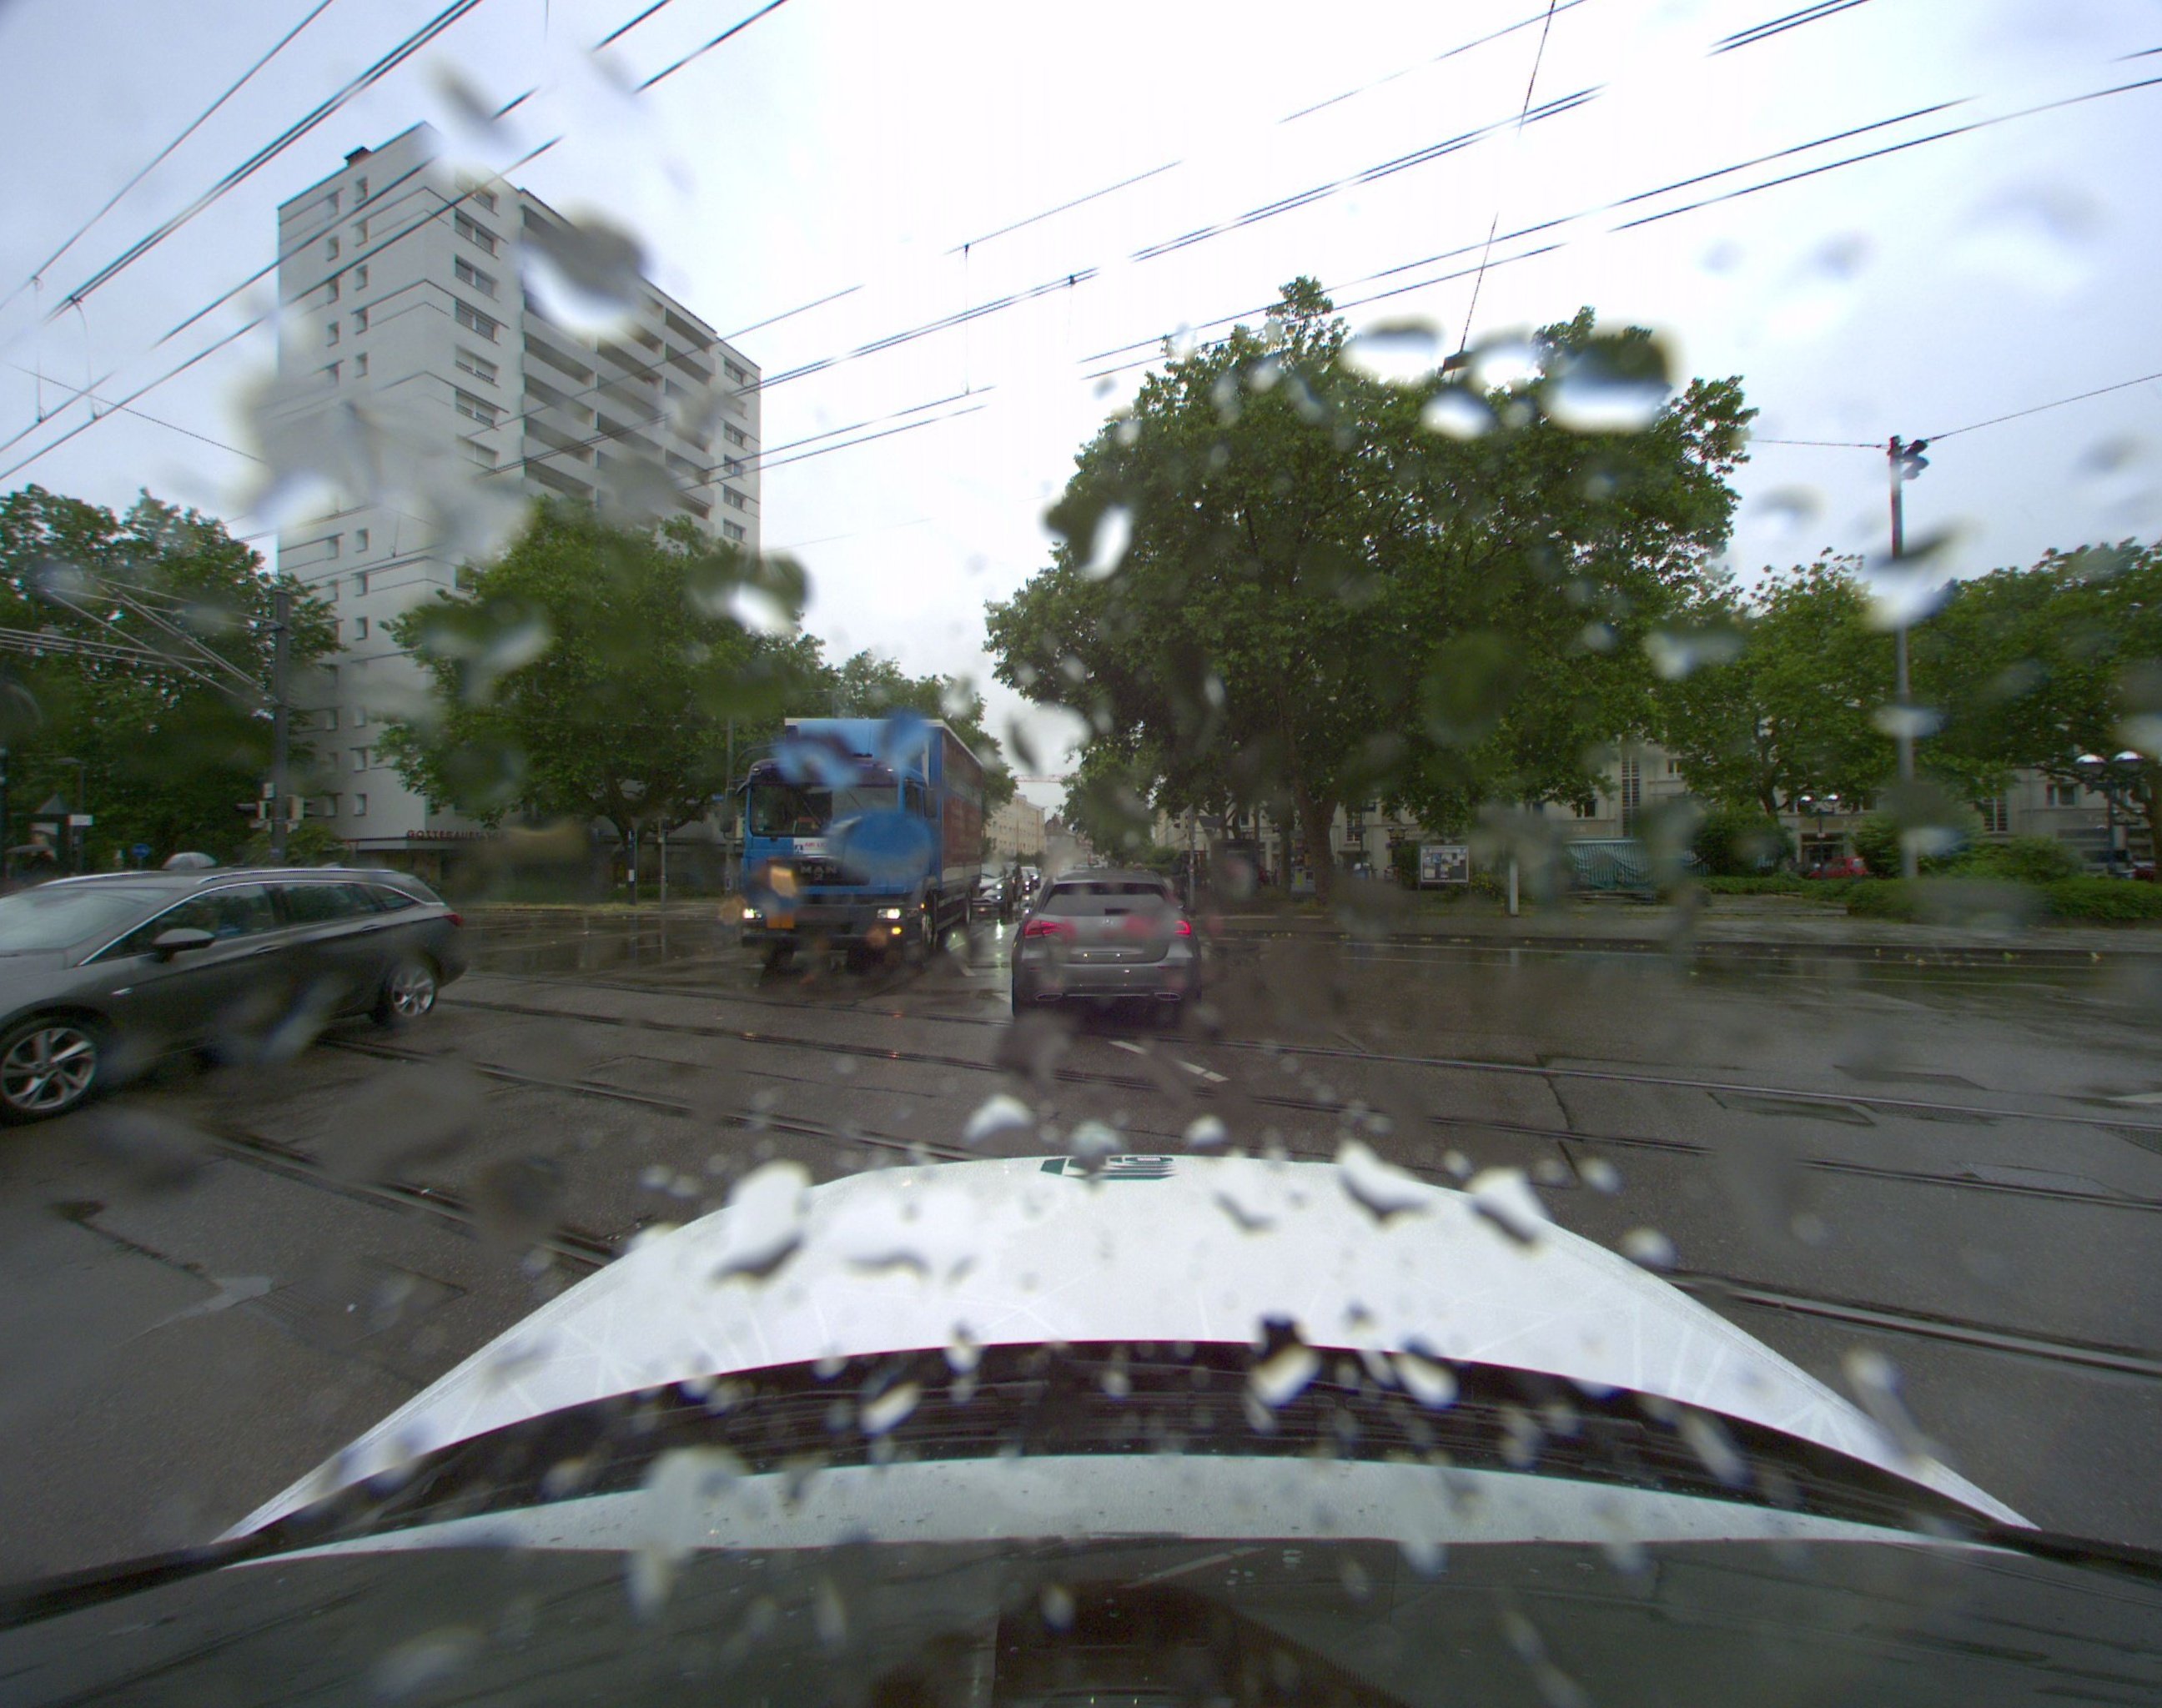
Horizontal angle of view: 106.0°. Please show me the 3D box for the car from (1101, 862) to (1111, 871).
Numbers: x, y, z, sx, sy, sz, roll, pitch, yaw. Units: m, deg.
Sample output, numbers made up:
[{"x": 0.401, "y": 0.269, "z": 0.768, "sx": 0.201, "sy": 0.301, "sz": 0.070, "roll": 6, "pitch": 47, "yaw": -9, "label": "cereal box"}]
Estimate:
[{"x": 5.290, "y": 2.580, "z": 170.713, "sx": 2.038, "sy": 1.836, "sz": 4.796, "roll": -1, "pitch": -1, "yaw": 3, "label": "car"}]

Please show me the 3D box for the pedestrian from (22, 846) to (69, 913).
[{"x": -29.154, "y": 0.707, "z": 22.934, "sx": 0.671, "sy": 1.838, "sz": 0.643, "roll": -2, "pitch": -1, "yaw": 22, "label": "pedestrian"}]

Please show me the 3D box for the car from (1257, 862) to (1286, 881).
[{"x": 14.348, "y": 1.326, "z": 61.205, "sx": 1.568, "sy": 1.337, "sz": 3.279, "roll": -1, "pitch": -3, "yaw": 23, "label": "car"}]

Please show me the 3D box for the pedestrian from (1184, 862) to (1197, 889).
[{"x": 6.840, "y": 1.334, "z": 50.972, "sx": 0.715, "sy": 1.669, "sz": 0.664, "roll": 0, "pitch": -1, "yaw": -3, "label": "pedestrian"}]

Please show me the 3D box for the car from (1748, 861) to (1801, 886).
[{"x": 42.829, "y": 1.235, "z": 50.358, "sx": 1.535, "sy": 1.467, "sz": 3.385, "roll": -1, "pitch": -3, "yaw": 24, "label": "car"}]

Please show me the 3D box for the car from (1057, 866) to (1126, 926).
[{"x": 0.231, "y": 1.015, "z": 21.171, "sx": 1.602, "sy": 1.372, "sz": 3.999, "roll": -1, "pitch": -1, "yaw": 0, "label": "car"}]

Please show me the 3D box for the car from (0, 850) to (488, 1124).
[{"x": -7.014, "y": 0.803, "z": 6.273, "sx": 1.721, "sy": 1.546, "sz": 4.338, "roll": -2, "pitch": -1, "yaw": -1, "label": "car"}]

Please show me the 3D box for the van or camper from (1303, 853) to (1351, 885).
[{"x": 18.127, "y": 1.122, "z": 59.830, "sx": 2.374, "sy": 2.231, "sz": 5.462, "roll": -1, "pitch": -1, "yaw": 27, "label": "van or camper"}]

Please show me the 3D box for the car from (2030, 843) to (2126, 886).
[{"x": 53.990, "y": 0.634, "z": 44.209, "sx": 1.535, "sy": 2.204, "sz": 4.121, "roll": -1, "pitch": -3, "yaw": 24, "label": "car"}]

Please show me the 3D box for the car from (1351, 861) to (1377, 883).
[{"x": 20.374, "y": 1.302, "z": 58.547, "sx": 1.665, "sy": 1.575, "sz": 3.754, "roll": -1, "pitch": -2, "yaw": 20, "label": "car"}]

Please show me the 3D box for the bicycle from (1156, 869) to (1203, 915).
[{"x": 3.244, "y": 1.203, "z": 26.655, "sx": 0.742, "sy": 1.377, "sz": 2.722, "roll": -2, "pitch": -1, "yaw": 23, "label": "bicycle"}]

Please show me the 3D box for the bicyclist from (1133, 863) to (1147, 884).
[{"x": 5.485, "y": 1.812, "z": 75.993, "sx": 0.941, "sy": 1.868, "sz": 1.135, "roll": 0, "pitch": -3, "yaw": -19, "label": "bicyclist"}]

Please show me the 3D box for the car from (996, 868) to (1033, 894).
[{"x": -3.756, "y": 1.504, "z": 46.530, "sx": 1.737, "sy": 1.390, "sz": 4.361, "roll": 1, "pitch": -2, "yaw": 0, "label": "car"}]

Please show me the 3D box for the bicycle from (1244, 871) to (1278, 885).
[{"x": 12.519, "y": 1.656, "z": 56.585, "sx": 2.261, "sy": 0.983, "sz": 0.548, "roll": -1, "pitch": -1, "yaw": 22, "label": "bicycle"}]

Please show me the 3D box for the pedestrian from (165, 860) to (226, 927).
[{"x": -22.369, "y": 0.979, "z": 20.585, "sx": 0.807, "sy": 1.648, "sz": 0.798, "roll": -2, "pitch": -1, "yaw": 22, "label": "pedestrian"}]

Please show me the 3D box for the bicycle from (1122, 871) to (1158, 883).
[{"x": 5.507, "y": 2.142, "z": 76.039, "sx": 3.216, "sy": 1.112, "sz": 1.047, "roll": 0, "pitch": -3, "yaw": -19, "label": "bicycle"}]

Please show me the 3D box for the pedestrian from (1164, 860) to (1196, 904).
[{"x": 3.233, "y": 0.903, "z": 26.654, "sx": 0.737, "sy": 1.398, "sz": 1.053, "roll": -2, "pitch": -1, "yaw": 23, "label": "pedestrian"}]

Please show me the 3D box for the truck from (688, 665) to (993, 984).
[{"x": -3.625, "y": -0.329, "z": 15.563, "sx": 2.837, "sy": 4.025, "sz": 10.311, "roll": -1, "pitch": -1, "yaw": -1, "label": "truck"}]

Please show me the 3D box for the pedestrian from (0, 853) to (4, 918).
[{"x": -35.194, "y": 1.012, "z": 26.078, "sx": 0.694, "sy": 2.077, "sz": 0.640, "roll": -1, "pitch": -1, "yaw": 18, "label": "pedestrian"}]

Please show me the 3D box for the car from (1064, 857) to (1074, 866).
[{"x": -2.690, "y": 1.655, "z": 178.236, "sx": 1.881, "sy": 1.836, "sz": 4.003, "roll": -1, "pitch": -1, "yaw": 3, "label": "car"}]

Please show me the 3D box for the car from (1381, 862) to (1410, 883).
[{"x": 22.618, "y": 1.349, "z": 58.511, "sx": 1.664, "sy": 1.432, "sz": 3.756, "roll": -1, "pitch": -3, "yaw": 25, "label": "car"}]

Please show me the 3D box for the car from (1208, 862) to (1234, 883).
[{"x": 10.703, "y": 1.438, "z": 62.114, "sx": 1.676, "sy": 1.551, "sz": 3.536, "roll": -1, "pitch": -3, "yaw": 15, "label": "car"}]

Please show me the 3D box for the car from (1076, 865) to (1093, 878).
[{"x": 0.460, "y": 2.231, "z": 102.353, "sx": 1.988, "sy": 1.574, "sz": 3.997, "roll": -1, "pitch": -1, "yaw": -2, "label": "car"}]

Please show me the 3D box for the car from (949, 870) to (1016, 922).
[{"x": -3.242, "y": 1.350, "z": 27.413, "sx": 1.737, "sy": 1.604, "sz": 3.999, "roll": 0, "pitch": -1, "yaw": 0, "label": "car"}]

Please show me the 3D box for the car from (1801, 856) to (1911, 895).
[{"x": 31.513, "y": 0.861, "z": 33.274, "sx": 1.650, "sy": 1.521, "sz": 3.693, "roll": -1, "pitch": -1, "yaw": 14, "label": "car"}]

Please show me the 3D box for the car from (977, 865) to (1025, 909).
[{"x": -3.582, "y": 1.456, "z": 37.084, "sx": 1.801, "sy": 1.862, "sz": 4.108, "roll": 0, "pitch": -1, "yaw": 0, "label": "car"}]

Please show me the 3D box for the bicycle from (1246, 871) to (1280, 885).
[{"x": 12.807, "y": 1.690, "z": 57.340, "sx": 2.232, "sy": 0.968, "sz": 0.537, "roll": -1, "pitch": -1, "yaw": 22, "label": "bicycle"}]

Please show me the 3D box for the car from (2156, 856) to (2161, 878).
[{"x": 58.470, "y": 0.674, "z": 41.920, "sx": 1.976, "sy": 1.207, "sz": 4.021, "roll": -1, "pitch": 0, "yaw": 21, "label": "car"}]

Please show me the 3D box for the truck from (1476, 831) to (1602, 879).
[{"x": 27.428, "y": 0.107, "z": 49.090, "sx": 6.325, "sy": 2.700, "sz": 2.279, "roll": -1, "pitch": -2, "yaw": 20, "label": "truck"}]

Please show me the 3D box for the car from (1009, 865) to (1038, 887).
[{"x": -4.064, "y": 1.531, "z": 58.302, "sx": 1.840, "sy": 1.510, "sz": 4.052, "roll": 0, "pitch": -1, "yaw": -2, "label": "car"}]

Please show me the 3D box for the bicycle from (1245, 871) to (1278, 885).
[{"x": 12.867, "y": 1.698, "z": 58.150, "sx": 2.227, "sy": 0.968, "sz": 0.588, "roll": -1, "pitch": -1, "yaw": 22, "label": "bicycle"}]

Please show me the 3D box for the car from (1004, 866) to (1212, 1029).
[{"x": 0.228, "y": 0.834, "z": 8.810, "sx": 1.786, "sy": 1.372, "sz": 3.505, "roll": 1, "pitch": -1, "yaw": -1, "label": "car"}]
